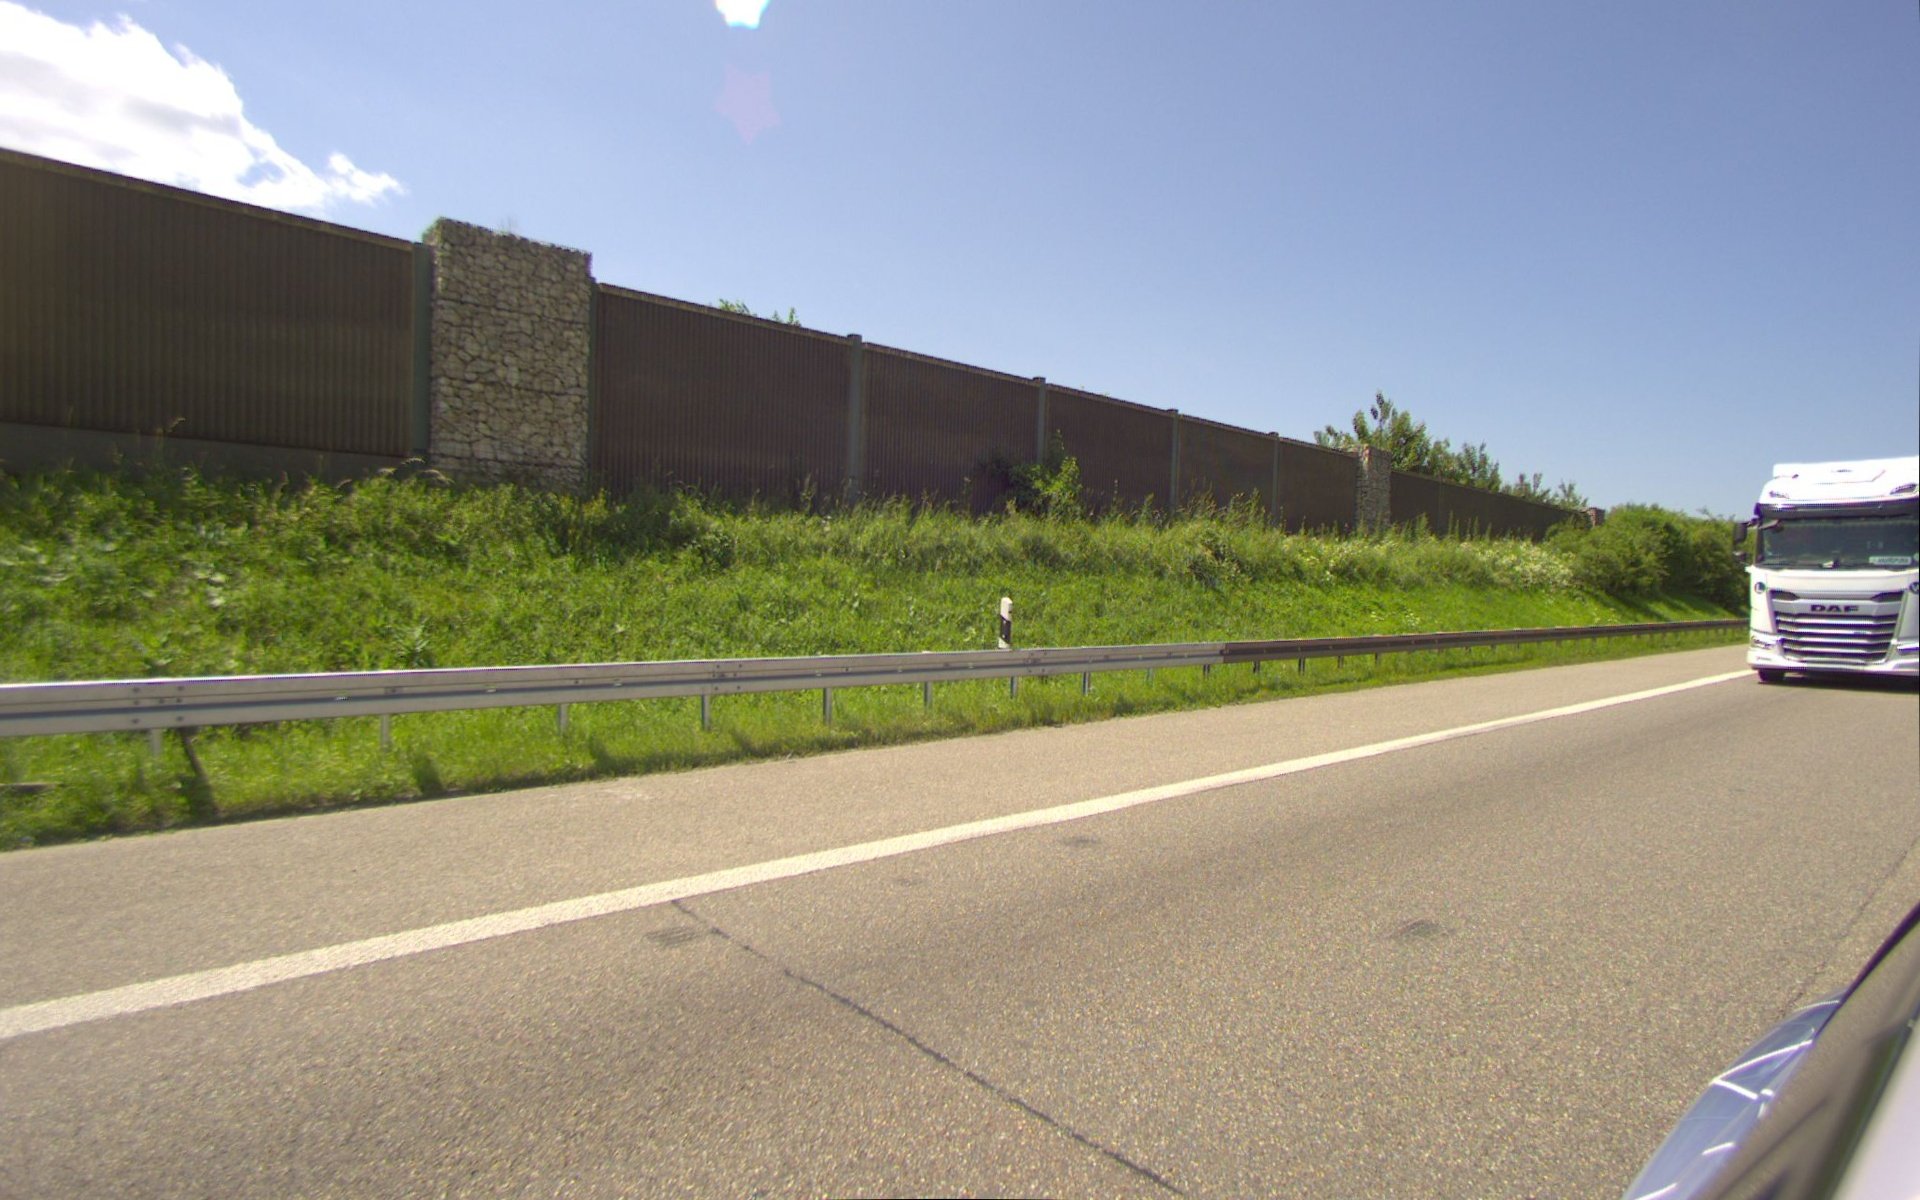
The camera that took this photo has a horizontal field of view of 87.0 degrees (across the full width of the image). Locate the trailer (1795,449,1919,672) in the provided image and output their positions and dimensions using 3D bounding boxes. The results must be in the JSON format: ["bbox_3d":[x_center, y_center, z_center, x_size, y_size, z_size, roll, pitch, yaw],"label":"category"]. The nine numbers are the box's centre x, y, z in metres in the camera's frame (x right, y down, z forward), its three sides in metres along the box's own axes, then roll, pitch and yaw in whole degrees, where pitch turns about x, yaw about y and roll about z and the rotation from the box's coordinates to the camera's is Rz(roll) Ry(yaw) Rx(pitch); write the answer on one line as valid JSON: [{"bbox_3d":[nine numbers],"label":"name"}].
[{"bbox_3d":[21.945,-0.756,23.254,13.424,4.027,2.481,0,1,-43],"label":"trailer"}]

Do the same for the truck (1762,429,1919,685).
[{"bbox_3d":[16.925,-0.711,18.600,6.273,4.027,2.481,0,1,-43],"label":"truck"}]
